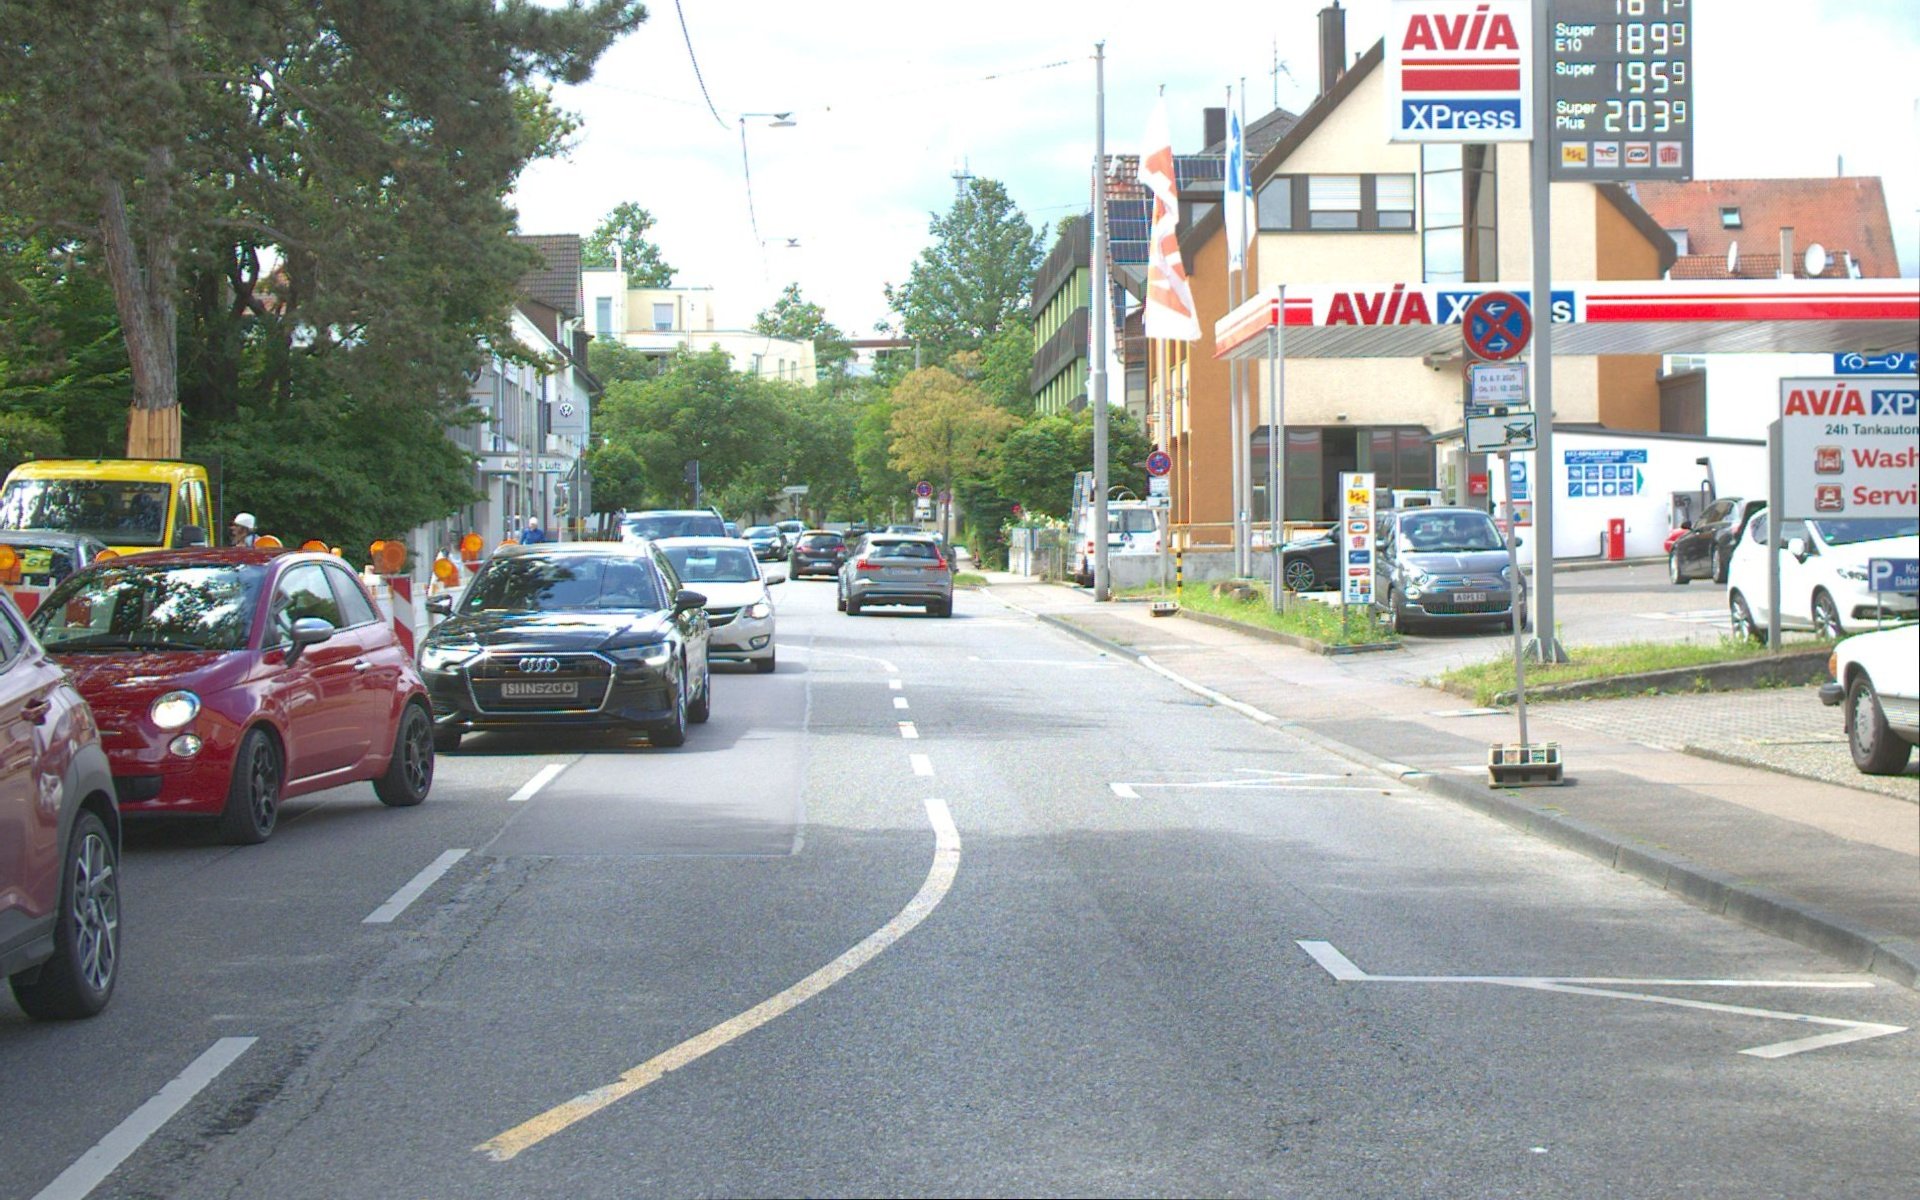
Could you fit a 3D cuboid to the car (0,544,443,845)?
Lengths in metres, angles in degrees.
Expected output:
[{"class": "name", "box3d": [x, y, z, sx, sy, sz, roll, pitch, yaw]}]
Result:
[{"class": "car", "box3d": [-4.098, 0.443, 18.164, 1.691, 1.420, 3.436, 1, 0, 10]}]

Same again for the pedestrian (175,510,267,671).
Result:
[{"class": "pedestrian", "box3d": [-6.702, -0.088, 31.187, 0.711, 1.434, 0.707, 1, 0, -4]}]

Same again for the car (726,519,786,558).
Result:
[{"class": "car", "box3d": [-8.049, -2.428, 135.997, 2.111, 1.495, 4.267, 0, 1, 0]}]

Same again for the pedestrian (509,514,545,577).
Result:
[{"class": "pedestrian", "box3d": [-10.096, -1.267, 80.171, 0.704, 1.434, 0.713, 1, 0, 2]}]

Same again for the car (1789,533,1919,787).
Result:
[{"class": "car", "box3d": [6.011, 0.324, 18.376, 1.722, 1.359, 4.485, 0, 1, -5]}]

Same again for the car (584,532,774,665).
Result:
[{"class": "car", "box3d": [-3.089, -0.019, 38.533, 1.959, 1.389, 4.296, 1, 0, -3]}]

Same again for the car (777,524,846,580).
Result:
[{"class": "car", "box3d": [-4.220, -1.377, 98.211, 1.816, 1.495, 4.267, 1, 1, -1]}]

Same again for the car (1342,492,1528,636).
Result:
[{"class": "car", "box3d": [5.853, -0.468, 42.735, 1.784, 1.629, 3.692, -3, 1, 1]}]

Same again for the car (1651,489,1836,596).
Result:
[{"class": "car", "box3d": [12.908, -0.945, 56.824, 1.783, 1.629, 3.693, -3, 1, -7]}]

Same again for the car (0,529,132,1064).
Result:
[{"class": "car", "box3d": [-3.640, 0.590, 9.261, 1.762, 1.528, 4.096, -1, 1, 1]}]

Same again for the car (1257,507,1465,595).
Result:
[{"class": "car", "box3d": [7.879, -0.959, 67.524, 3.988, 1.678, 1.790, 1, 0, 8]}]

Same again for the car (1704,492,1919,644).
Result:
[{"class": "car", "box3d": [8.623, -0.321, 32.661, 1.841, 1.351, 4.070, 0, 1, -6]}]

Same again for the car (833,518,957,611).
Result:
[{"class": "car", "box3d": [-1.207, -0.656, 61.772, 1.976, 1.508, 4.267, 3, 1, -3]}]

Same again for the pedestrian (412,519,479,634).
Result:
[{"class": "pedestrian", "box3d": [-6.480, -0.296, 43.326, 0.704, 1.434, 0.713, 1, 0, 2]}]

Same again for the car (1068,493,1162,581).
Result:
[{"class": "car", "box3d": [3.653, -1.472, 81.776, 1.993, 2.007, 4.000, 1, 0, -1]}]

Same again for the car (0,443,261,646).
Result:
[{"class": "car", "box3d": [-8.951, -0.555, 36.174, 2.146, 1.974, 4.931, 1, 0, 0]}]

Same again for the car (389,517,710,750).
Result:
[{"class": "car", "box3d": [-2.957, 0.223, 25.604, 1.929, 1.572, 4.296, 1, 0, -1]}]
